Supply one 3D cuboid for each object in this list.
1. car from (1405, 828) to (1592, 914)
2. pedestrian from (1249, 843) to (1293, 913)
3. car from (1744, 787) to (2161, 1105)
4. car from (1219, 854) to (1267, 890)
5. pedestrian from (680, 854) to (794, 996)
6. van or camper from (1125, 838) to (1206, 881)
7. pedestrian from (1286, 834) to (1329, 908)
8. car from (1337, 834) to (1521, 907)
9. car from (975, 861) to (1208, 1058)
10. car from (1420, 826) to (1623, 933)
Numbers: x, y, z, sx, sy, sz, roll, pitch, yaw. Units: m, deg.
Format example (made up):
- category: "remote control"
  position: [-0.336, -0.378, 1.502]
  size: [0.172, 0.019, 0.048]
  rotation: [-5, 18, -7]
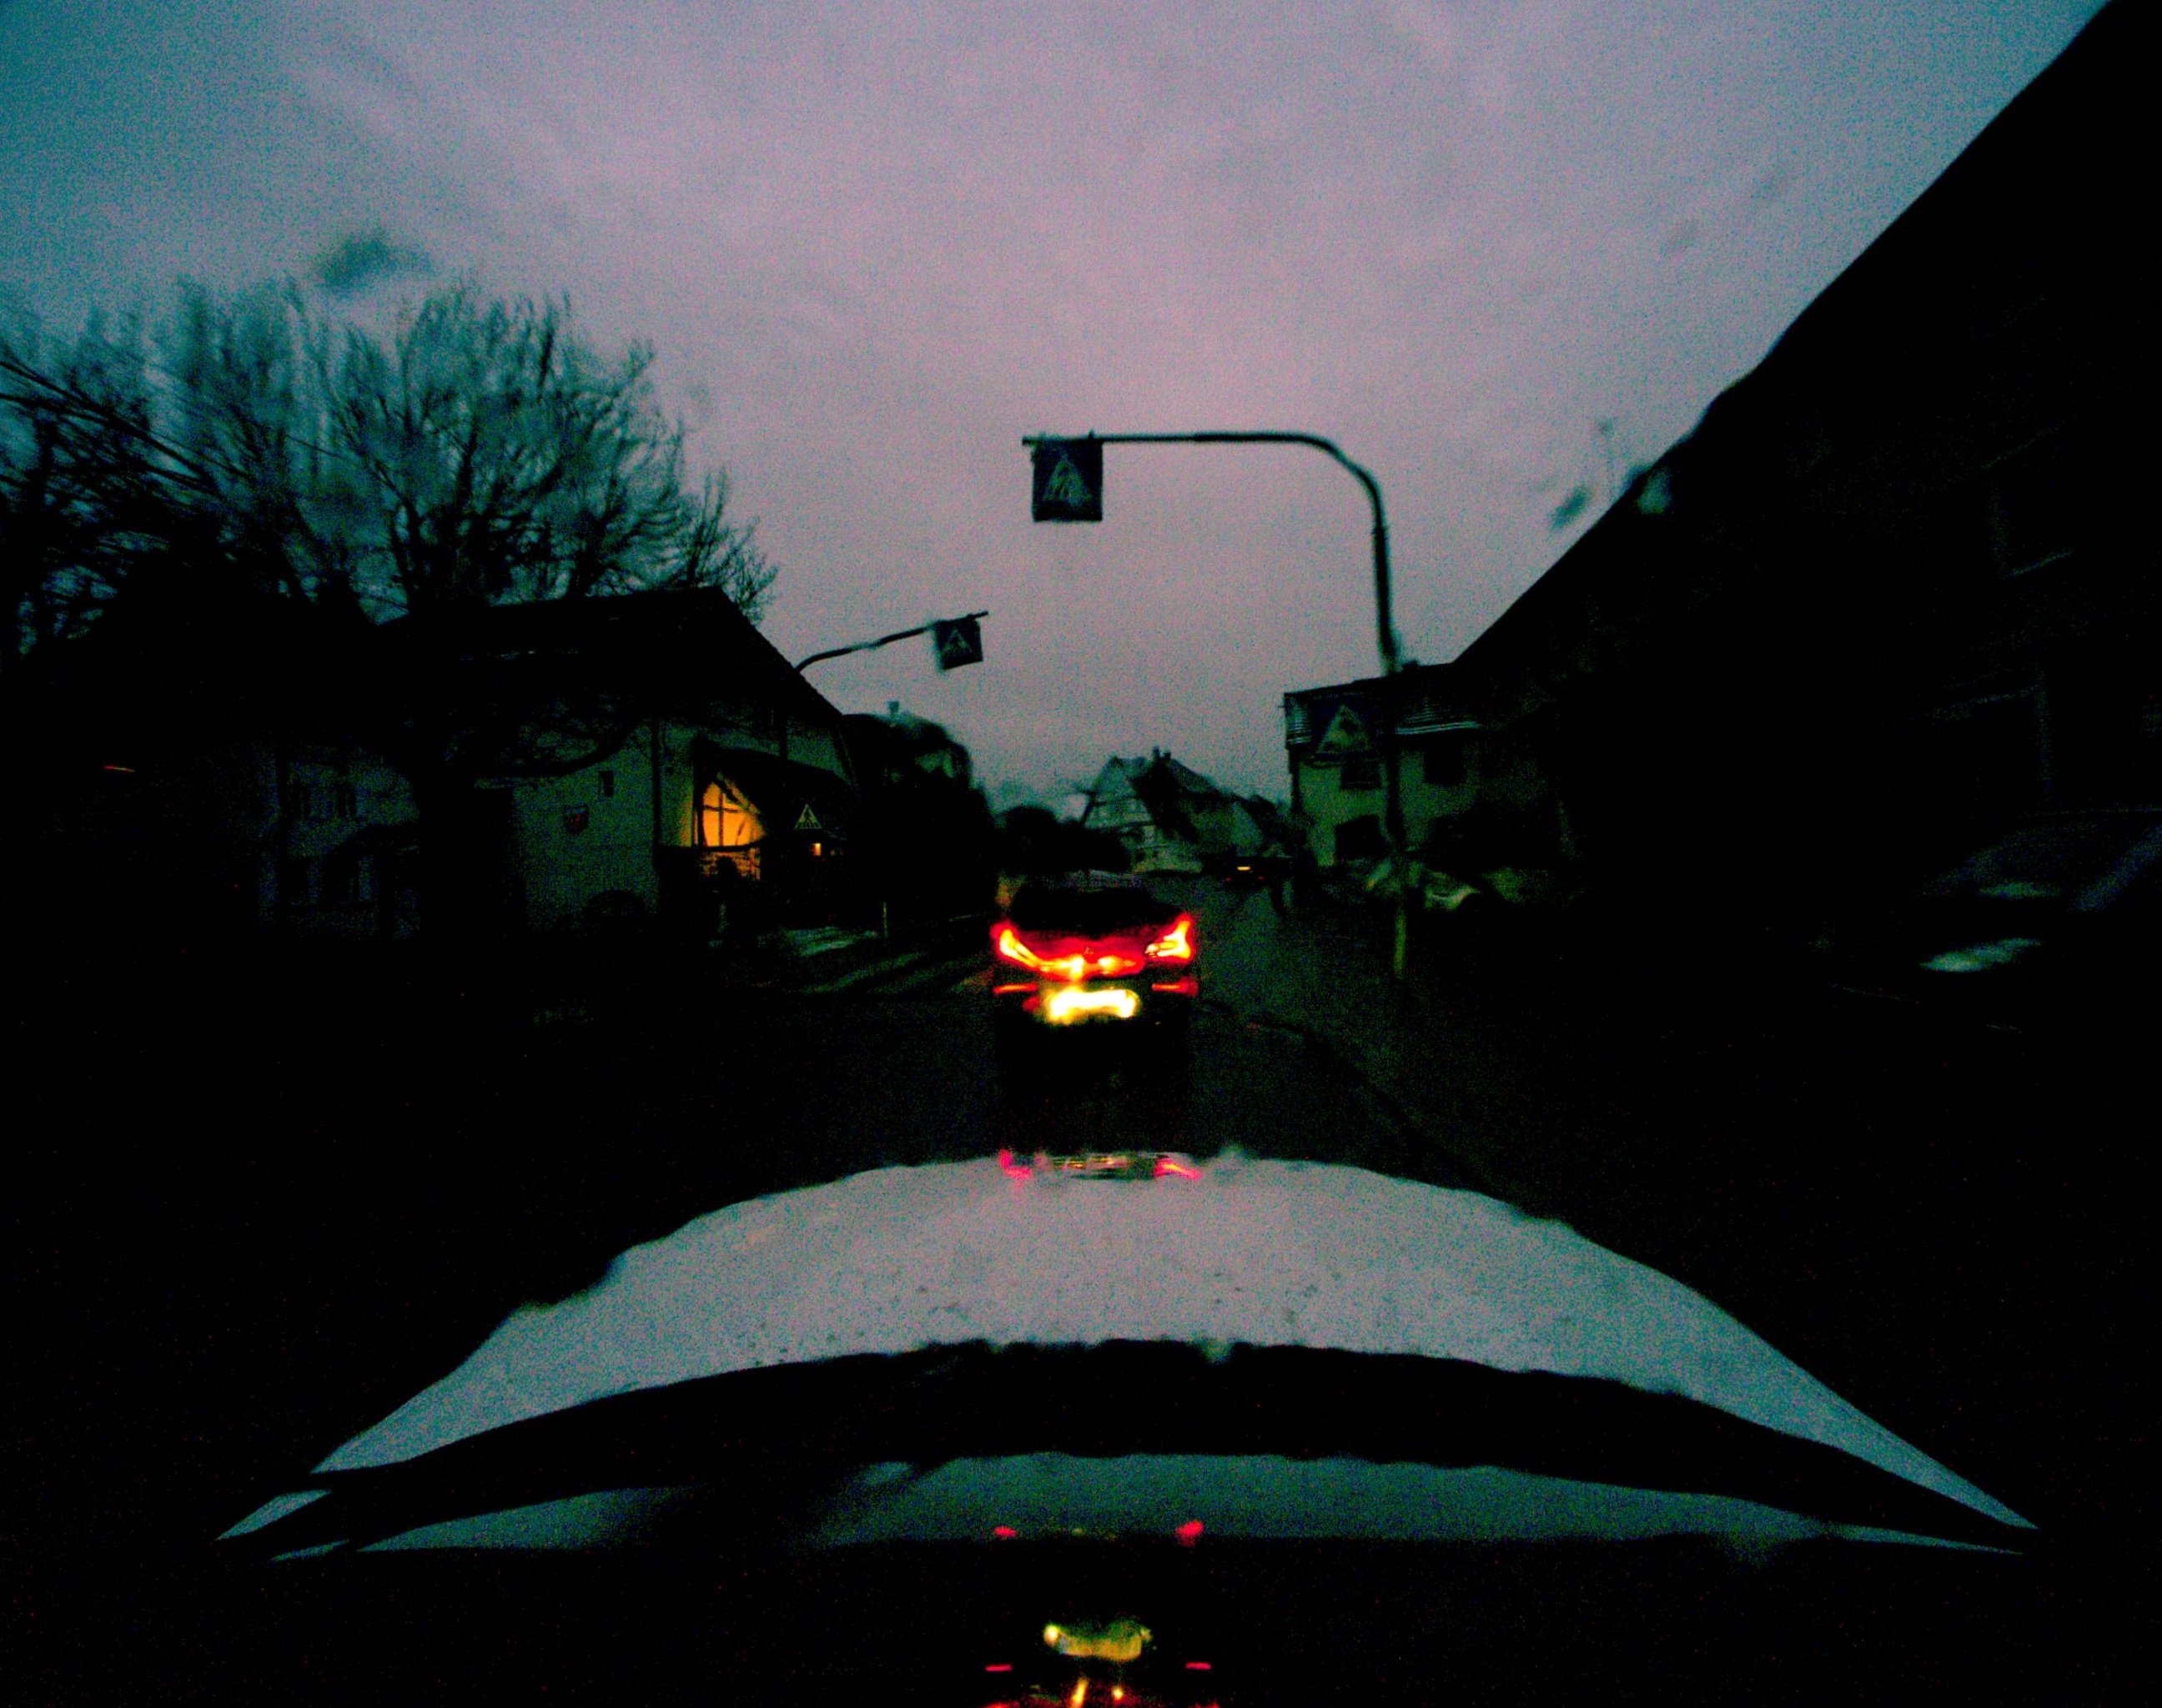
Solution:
- category: "car"
  position: [8.451, 0.346, 16.727]
  size: [3.044, 1.474, 1.554]
  rotation: [-4, -1, 11]
- category: "pedestrian"
  position: [4.822, 0.586, 20.620]
  size: [0.860, 1.667, 0.996]
  rotation: [-6, -1, 16]
- category: "car"
  position: [5.696, 0.391, 4.489]
  size: [2.747, 1.474, 1.430]
  rotation: [-4, -1, 9]
- category: "car"
  position: [7.952, 0.839, 39.774]
  size: [1.833, 1.637, 4.354]
  rotation: [-2, -1, 17]
- category: "pedestrian"
  position: [-4.462, 0.891, 10.607]
  size: [0.873, 1.735, 0.960]
  rotation: [-3, -1, 17]
- category: "van or camper"
  position: [6.980, 0.474, 67.349]
  size: [6.006, 2.955, 2.420]
  rotation: [-6, -2, 24]
- category: "pedestrian"
  position: [5.661, 0.405, 20.331]
  size: [0.842, 1.733, 0.976]
  rotation: [-6, -1, 16]
- category: "car"
  position: [8.568, 0.418, 20.368]
  size: [3.874, 1.474, 1.756]
  rotation: [-4, -1, 11]
- category: "car"
  position: [0.056, 0.840, 8.368]
  size: [1.790, 1.476, 3.998]
  rotation: [-1, 0, -1]
- category: "car"
  position: [7.326, 0.414, 13.774]
  size: [2.568, 1.547, 1.555]
  rotation: [-4, 0, 8]
